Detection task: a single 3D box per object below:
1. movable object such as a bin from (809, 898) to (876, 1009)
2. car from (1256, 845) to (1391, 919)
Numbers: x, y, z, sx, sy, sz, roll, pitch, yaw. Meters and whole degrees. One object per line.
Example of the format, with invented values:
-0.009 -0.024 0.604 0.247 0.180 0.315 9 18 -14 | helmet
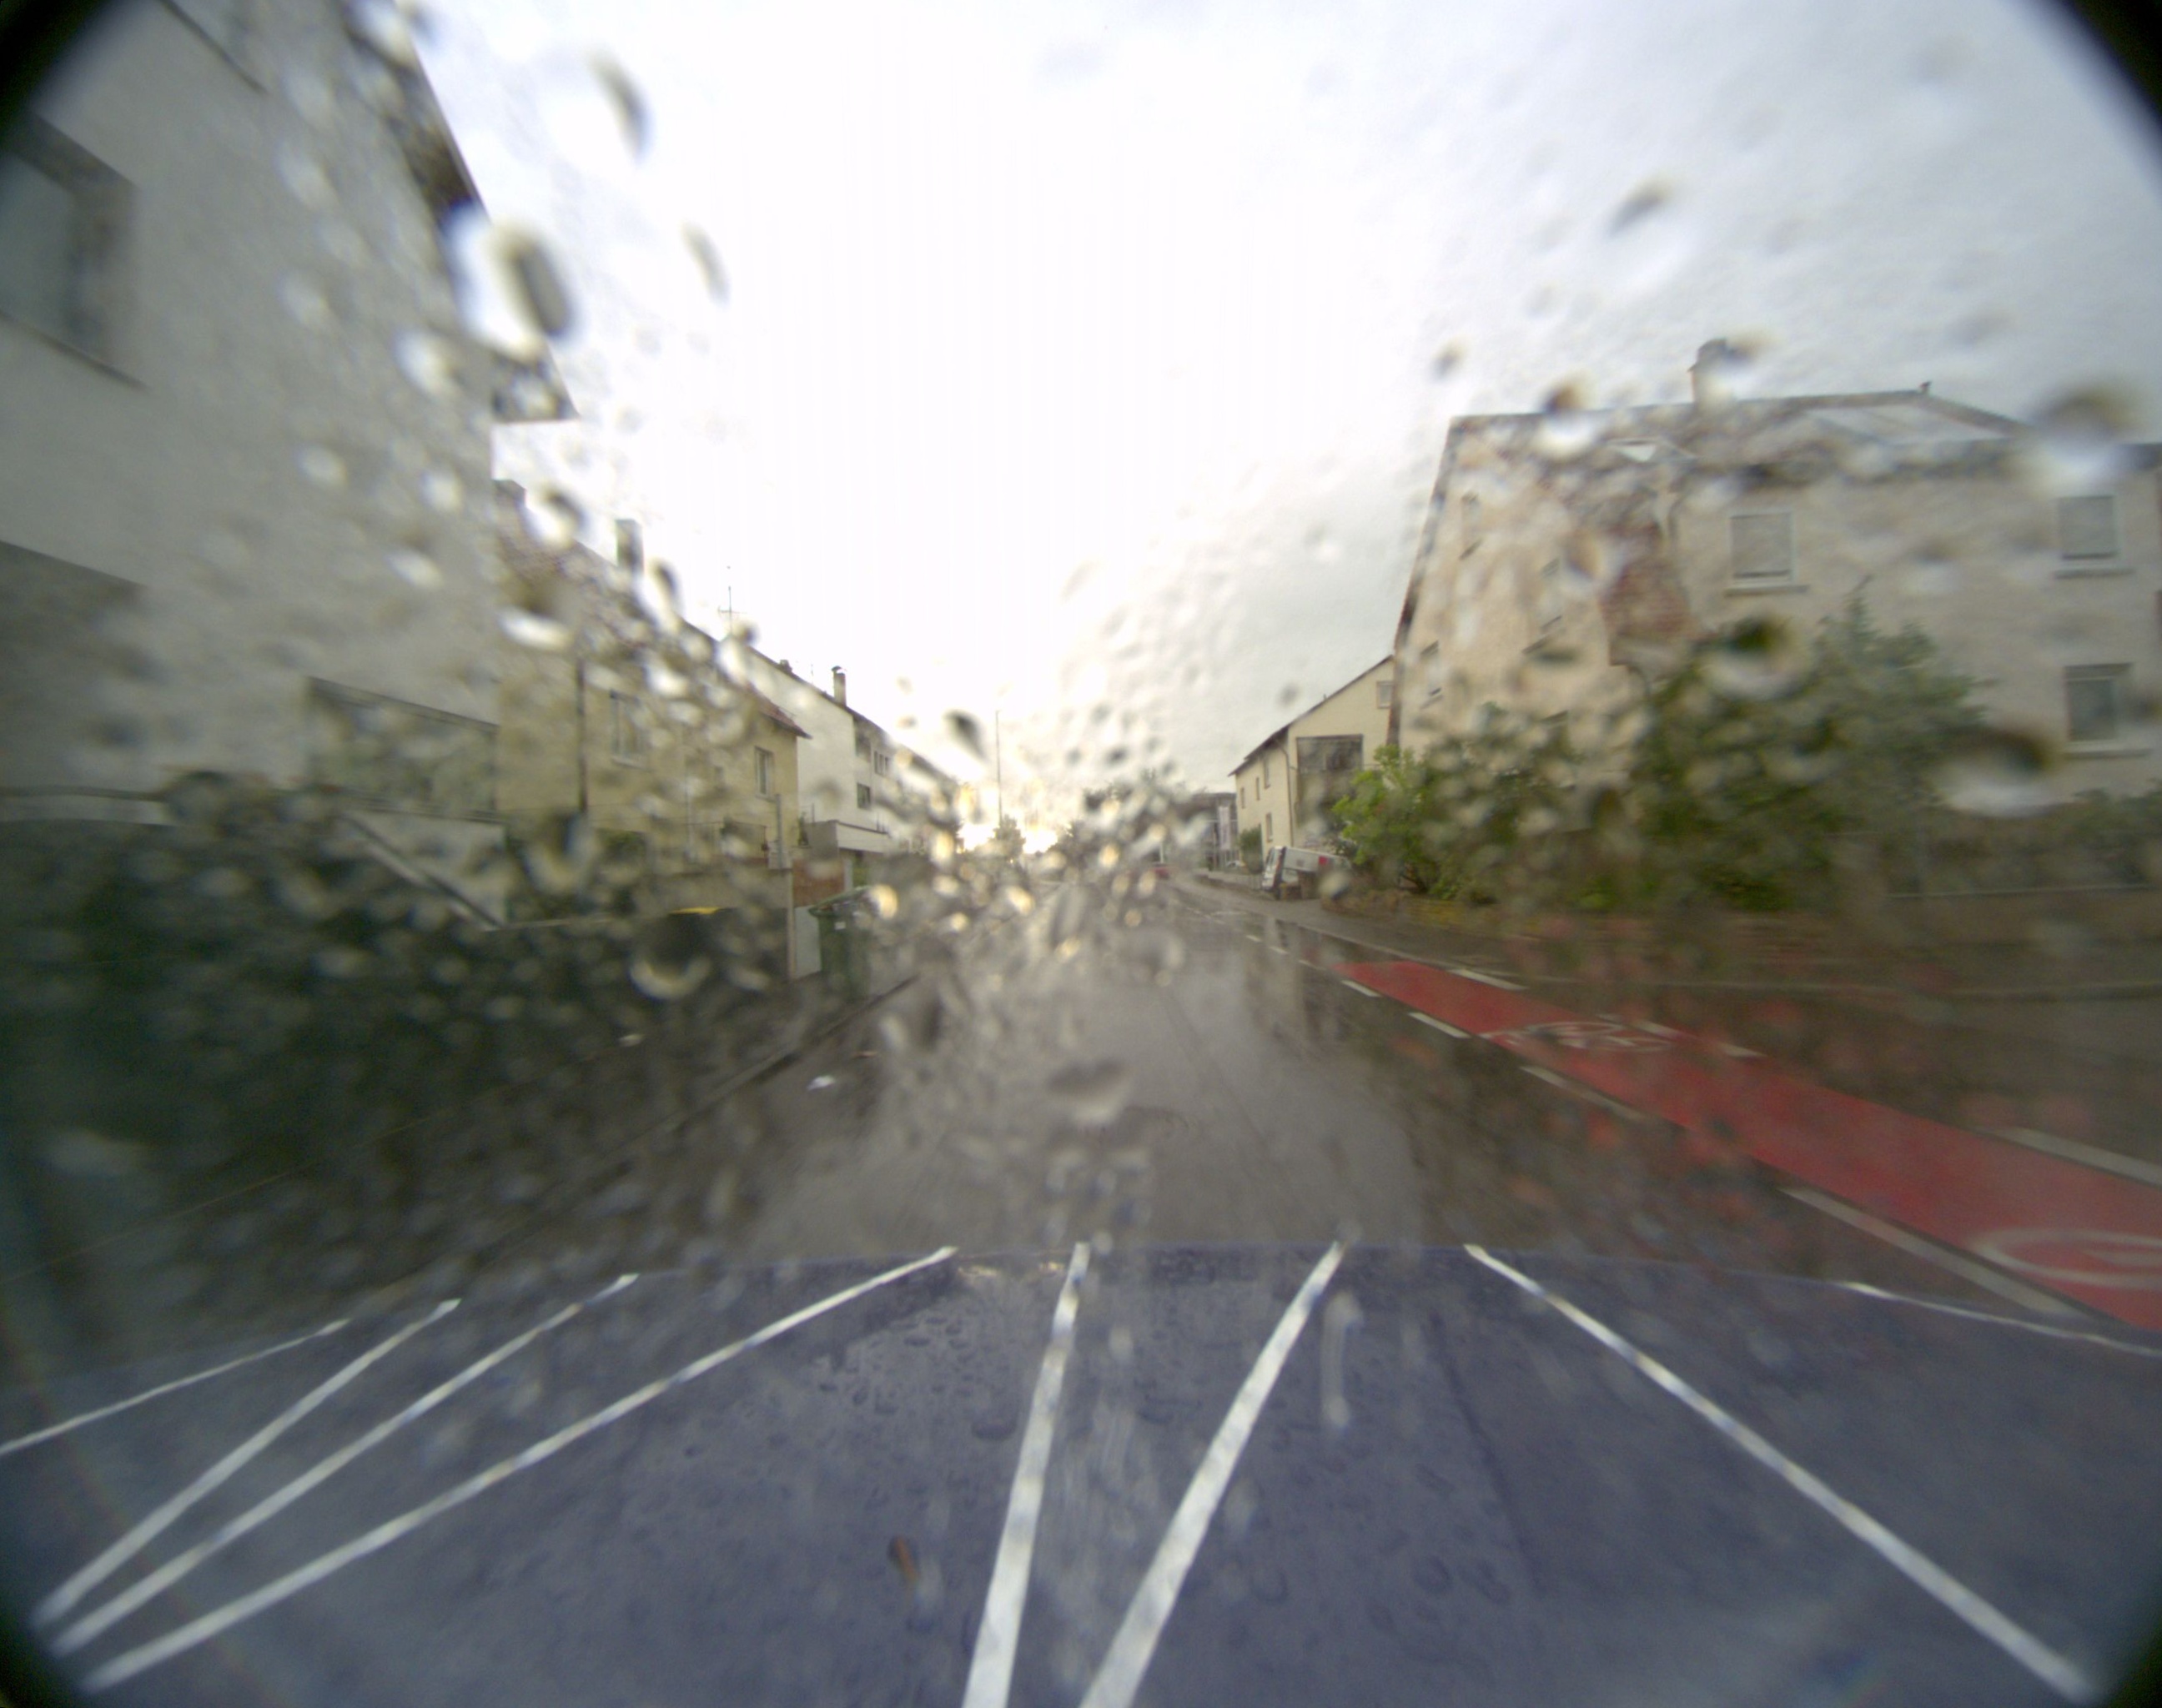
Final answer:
-2.691 1.109 8.602 0.569 1.179 0.538 -1 0 -1 | movable object such as a bin
8.710 0.998 27.528 3.998 1.963 1.873 10 -1 -2 | car
